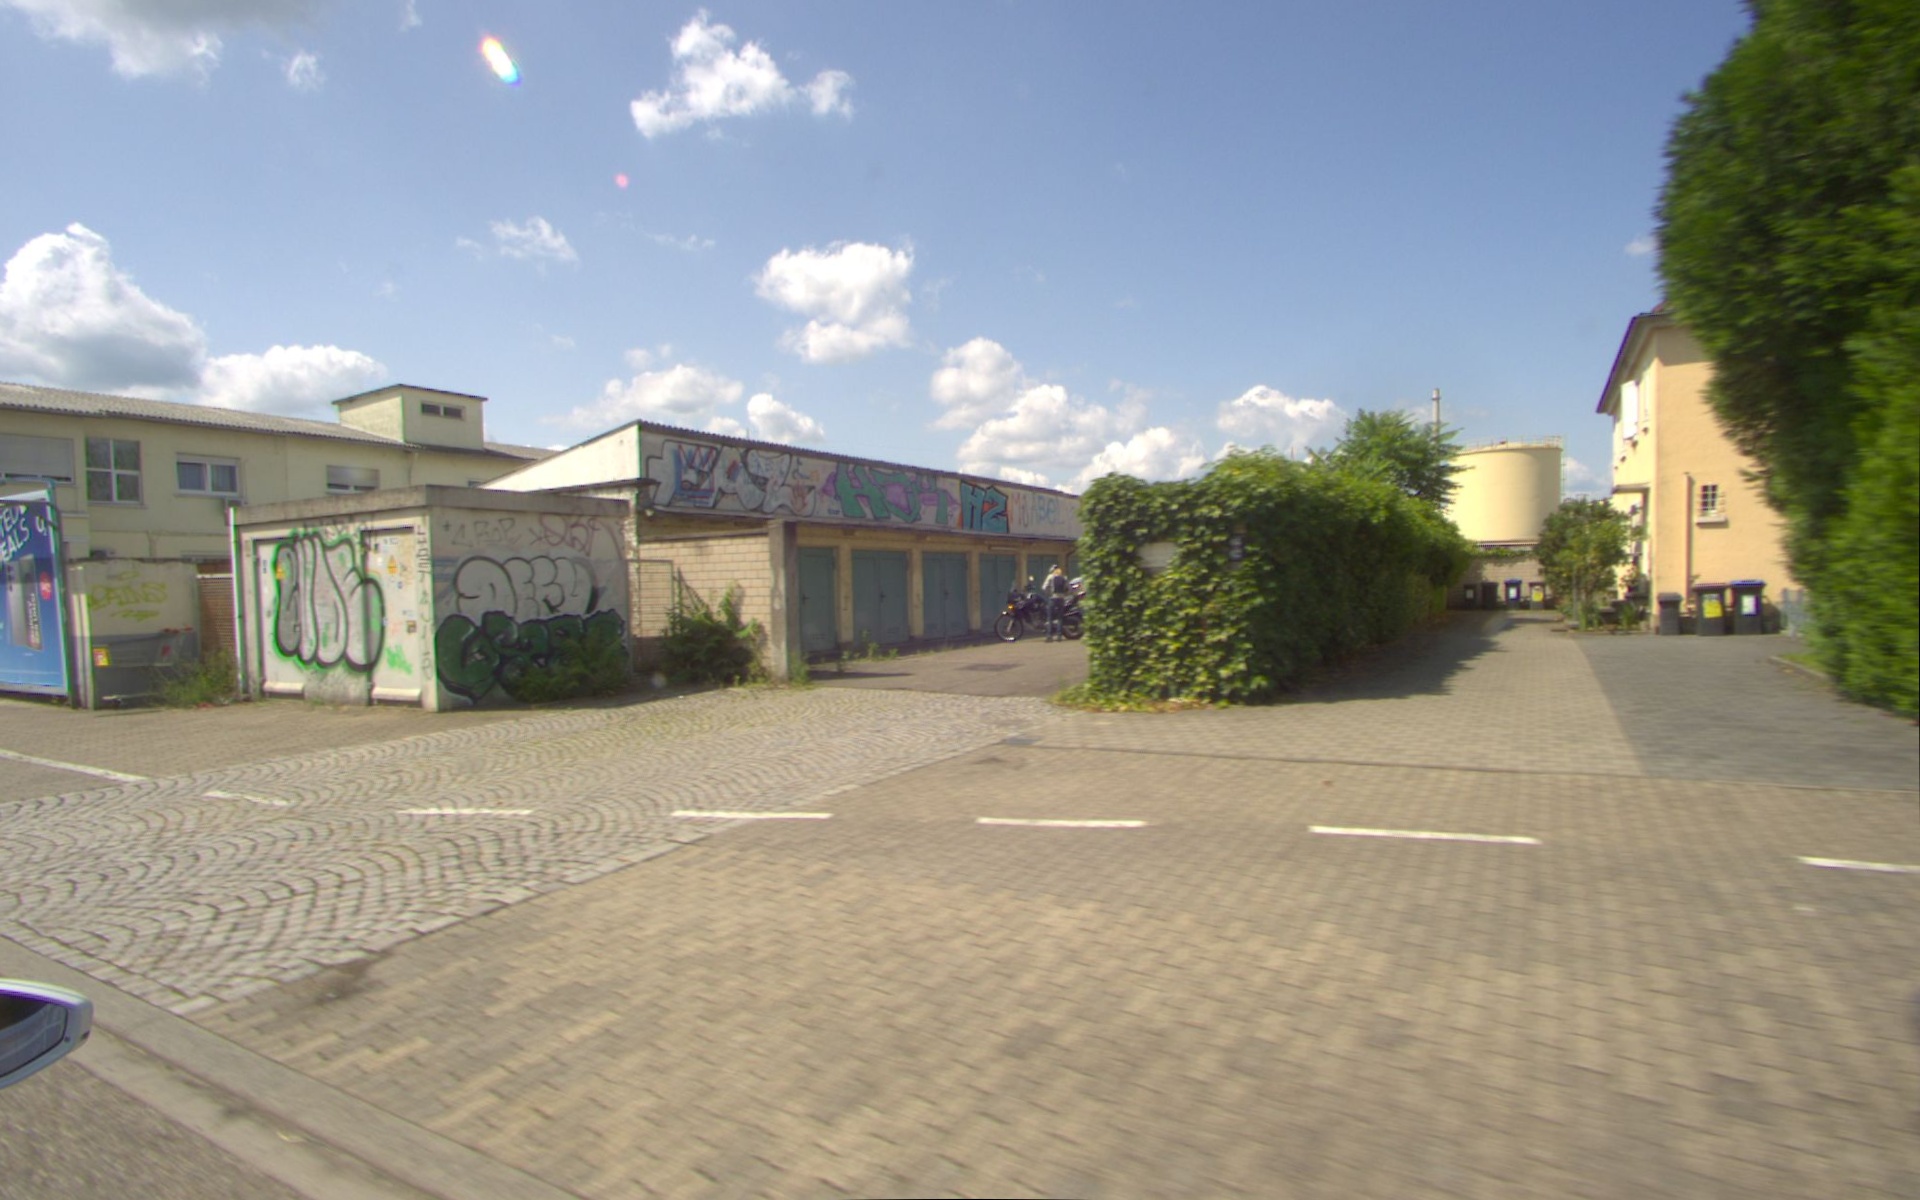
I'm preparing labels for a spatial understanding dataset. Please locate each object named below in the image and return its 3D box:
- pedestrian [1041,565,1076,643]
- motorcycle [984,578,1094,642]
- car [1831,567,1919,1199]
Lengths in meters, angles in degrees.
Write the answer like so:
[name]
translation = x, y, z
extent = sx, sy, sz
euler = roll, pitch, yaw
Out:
[pedestrian]
translation = 2.104, 0.090, 21.271
extent = 0.588, 1.625, 0.487
euler = -1, 0, 25
[motorcycle]
translation = 1.729, 0.226, 22.052
extent = 2.309, 1.345, 0.626
euler = -1, 1, 24
[car]
translation = 3.517, 0.632, 0.794
extent = 4.039, 1.450, 1.647
euler = -1, 1, 33
